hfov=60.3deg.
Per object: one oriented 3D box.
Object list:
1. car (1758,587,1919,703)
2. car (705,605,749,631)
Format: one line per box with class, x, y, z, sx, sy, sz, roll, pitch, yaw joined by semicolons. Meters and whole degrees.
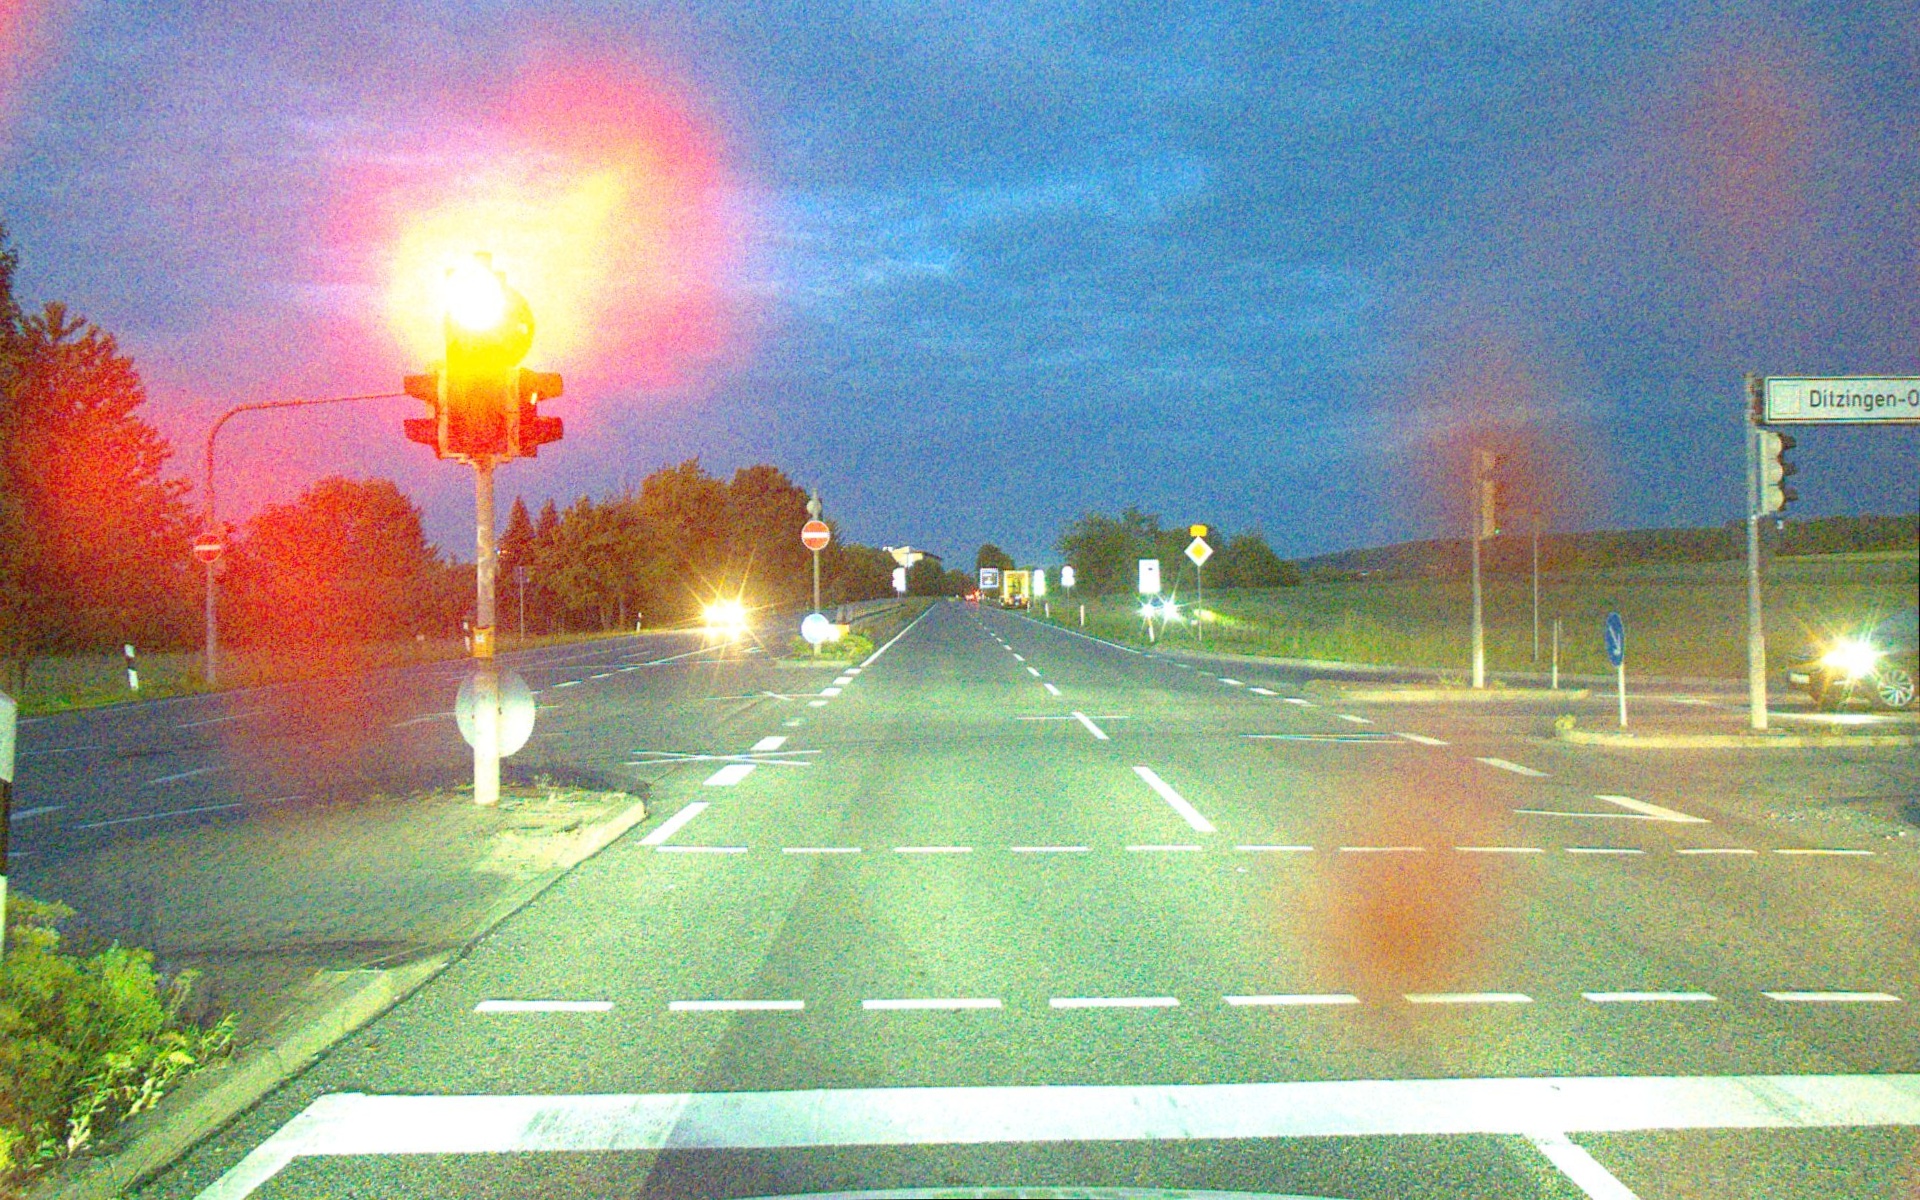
car;14.126;0.596;23.618;4.506;1.547;2.000;-1;0;0
car;-13.153;1.010;93.661;1.953;1.411;3.999;-1;0;-1
